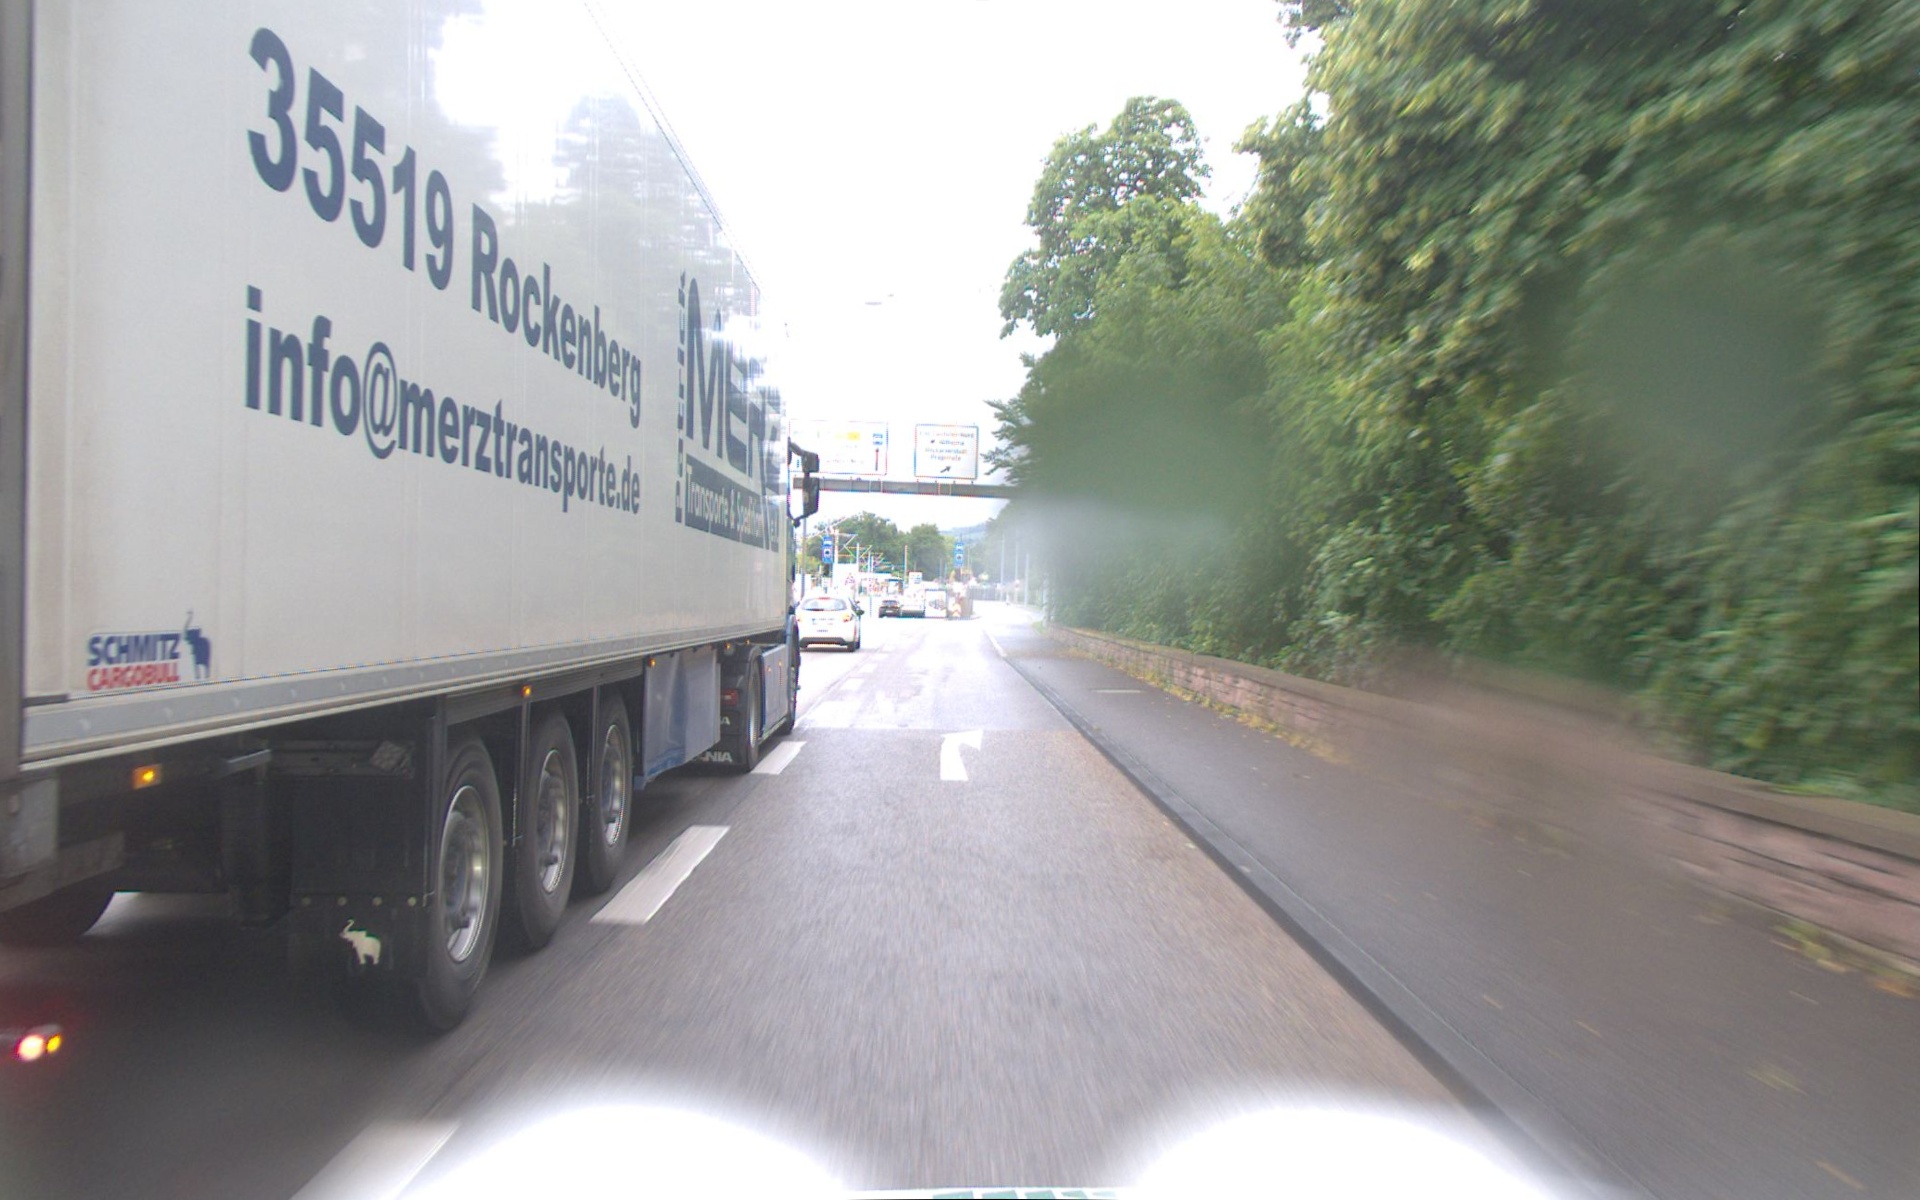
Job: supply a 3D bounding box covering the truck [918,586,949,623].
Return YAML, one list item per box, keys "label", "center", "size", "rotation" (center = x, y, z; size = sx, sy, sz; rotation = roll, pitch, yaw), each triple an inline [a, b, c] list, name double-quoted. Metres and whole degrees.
- label: "truck"
  center: [-3.037, 0.502, 189.005]
  size: [3.446, 4.110, 8.072]
  rotation: [1, 0, -1]

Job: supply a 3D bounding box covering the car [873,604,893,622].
- label: "car"
  center: [-6.005, 1.029, 129.328]
  size: [1.397, 1.378, 2.960]
  rotation: [1, 0, -1]

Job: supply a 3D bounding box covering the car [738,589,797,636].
- label: "car"
  center: [-6.727, 0.401, 58.224]
  size: [1.647, 1.471, 4.000]
  rotation: [1, 2, -1]

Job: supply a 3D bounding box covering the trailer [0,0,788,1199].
- label: "trailer"
  center: [-2.898, -0.668, 8.976]
  size: [2.706, 4.327, 13.181]
  rotation: [0, 0, -1]

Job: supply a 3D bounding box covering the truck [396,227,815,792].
- label: "truck"
  center: [-2.968, -0.699, 15.724]
  size: [2.700, 4.278, 6.305]
  rotation: [0, 0, -1]

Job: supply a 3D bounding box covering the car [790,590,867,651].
- label: "car"
  center: [-3.473, 0.510, 44.158]
  size: [1.773, 1.448, 4.000]
  rotation: [1, 2, -1]
